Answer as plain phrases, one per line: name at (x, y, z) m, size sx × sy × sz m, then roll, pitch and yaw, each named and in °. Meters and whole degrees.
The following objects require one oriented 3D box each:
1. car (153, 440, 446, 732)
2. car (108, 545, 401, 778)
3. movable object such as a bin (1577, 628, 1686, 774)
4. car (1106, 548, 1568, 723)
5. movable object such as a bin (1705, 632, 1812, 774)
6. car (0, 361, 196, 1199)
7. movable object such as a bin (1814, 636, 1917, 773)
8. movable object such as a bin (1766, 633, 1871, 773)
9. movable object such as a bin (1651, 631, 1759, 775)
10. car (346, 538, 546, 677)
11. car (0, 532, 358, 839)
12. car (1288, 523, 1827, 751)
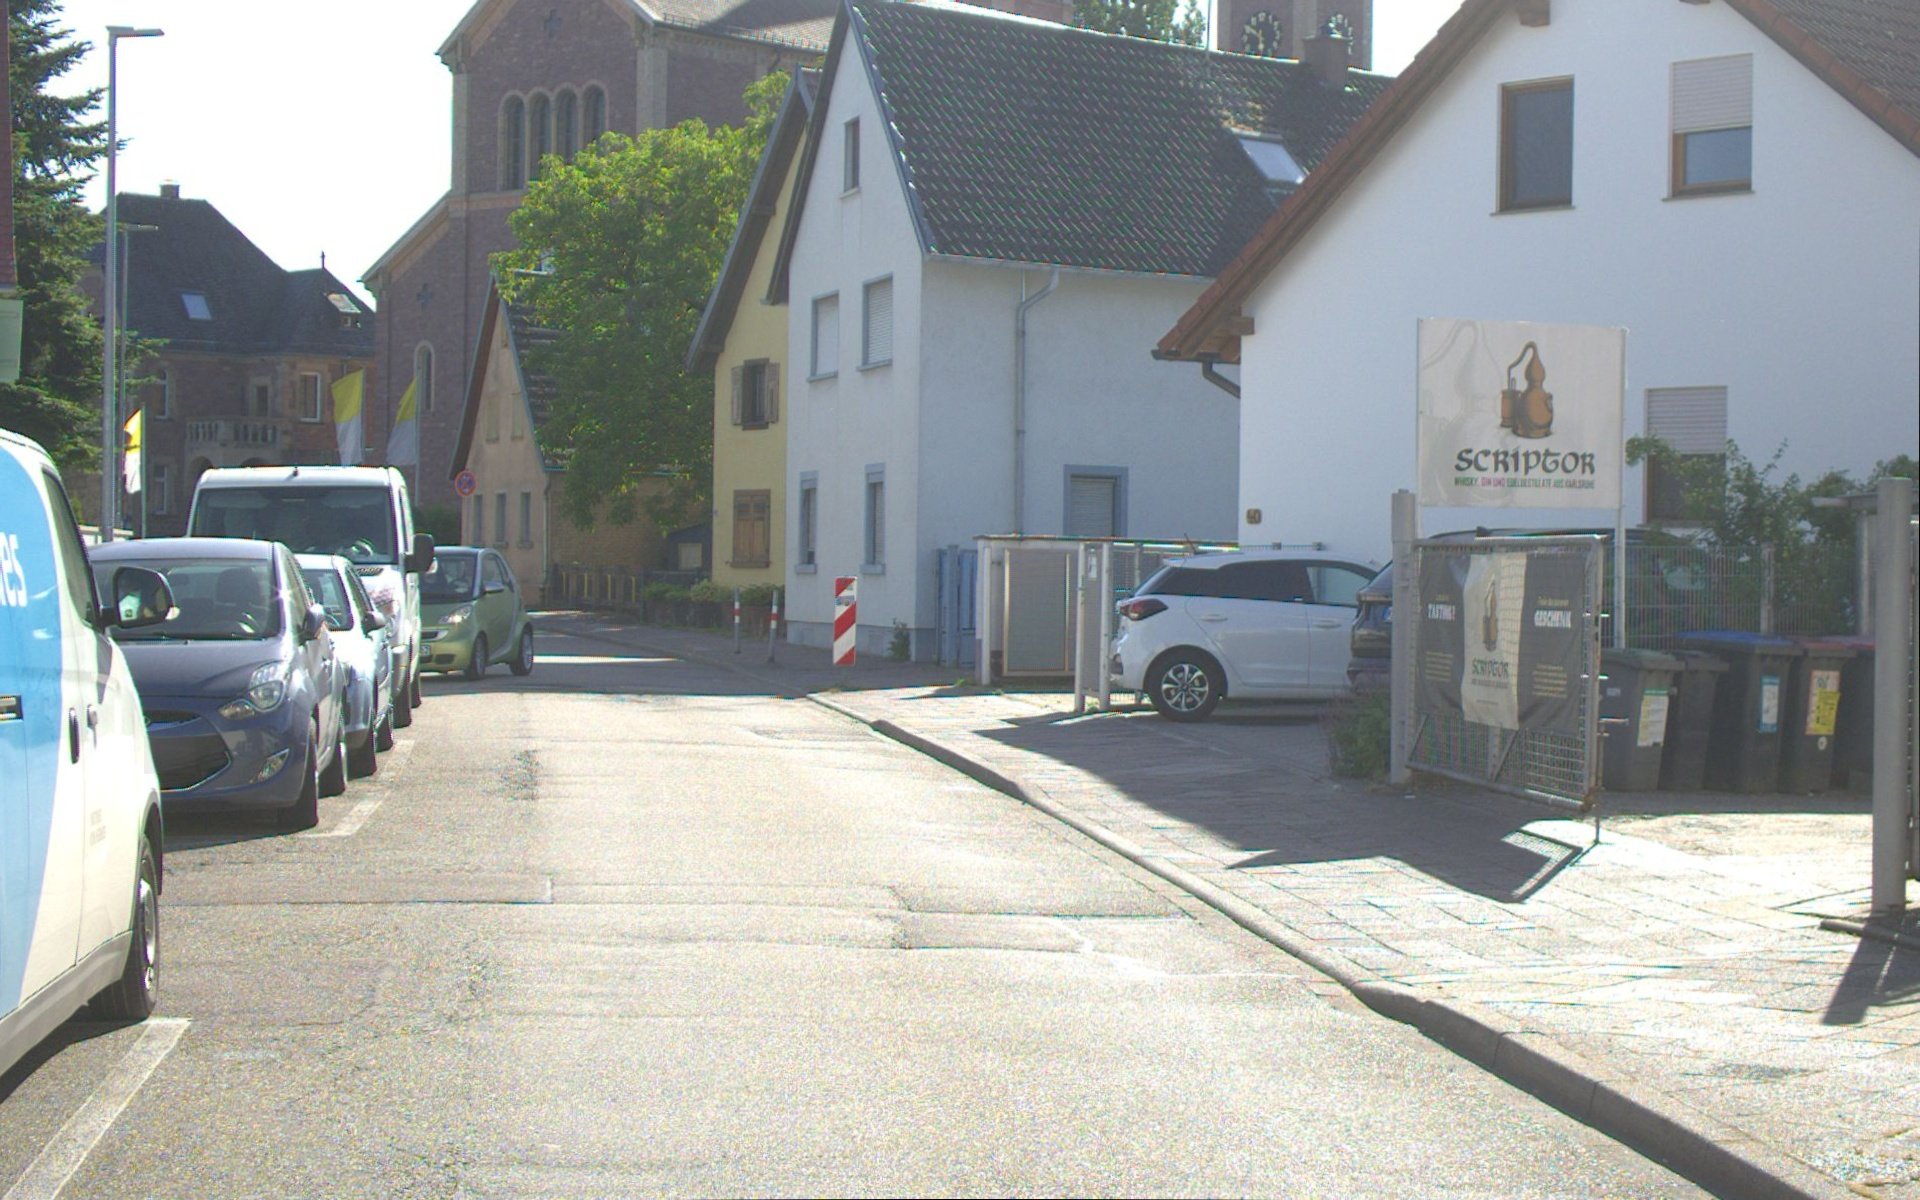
car at (-5.915, -0.178, 31.492) m, size 2.196 × 2.381 × 6.066 m, roll -1°, pitch 1°, yaw -7°
car at (-4.928, 0.365, 24.473) m, size 1.711 × 1.499 × 4.236 m, roll 0°, pitch 1°, yaw -7°
movable object such as a bin at (4.373, 0.655, 22.386) m, size 0.515 × 0.920 × 0.423 m, roll 3°, pitch -1°, yaw -36°
car at (3.258, 0.291, 30.304) m, size 3.912 × 1.487 × 1.847 m, roll 0°, pitch 1°, yaw 2°
movable object such as a bin at (5.350, 0.689, 23.029) m, size 0.515 × 0.920 × 0.423 m, roll 3°, pitch -1°, yaw -36°
car at (-3.241, 0.404, 9.015) m, size 1.902 × 1.911 × 5.071 m, roll 0°, pitch 1°, yaw -7°
movable object such as a bin at (6.297, 0.725, 23.908) m, size 0.515 × 0.920 × 0.423 m, roll 3°, pitch -1°, yaw -36°
movable object such as a bin at (5.838, 0.699, 23.371) m, size 0.515 × 0.920 × 0.423 m, roll 3°, pitch -1°, yaw -36°
movable object such as a bin at (4.920, 0.678, 22.714) m, size 0.515 × 0.920 × 0.423 m, roll 3°, pitch -1°, yaw -36°
car at (-5.966, 0.055, 40.146) m, size 1.574 × 1.541 × 2.965 m, roll 1°, pitch 1°, yaw 7°
car at (-4.448, 0.405, 19.869) m, size 1.714 × 1.593 × 3.926 m, roll 0°, pitch 1°, yaw -7°
car at (4.783, 0.242, 27.368) m, size 4.036 × 1.682 × 1.912 m, roll 0°, pitch 2°, yaw -35°
